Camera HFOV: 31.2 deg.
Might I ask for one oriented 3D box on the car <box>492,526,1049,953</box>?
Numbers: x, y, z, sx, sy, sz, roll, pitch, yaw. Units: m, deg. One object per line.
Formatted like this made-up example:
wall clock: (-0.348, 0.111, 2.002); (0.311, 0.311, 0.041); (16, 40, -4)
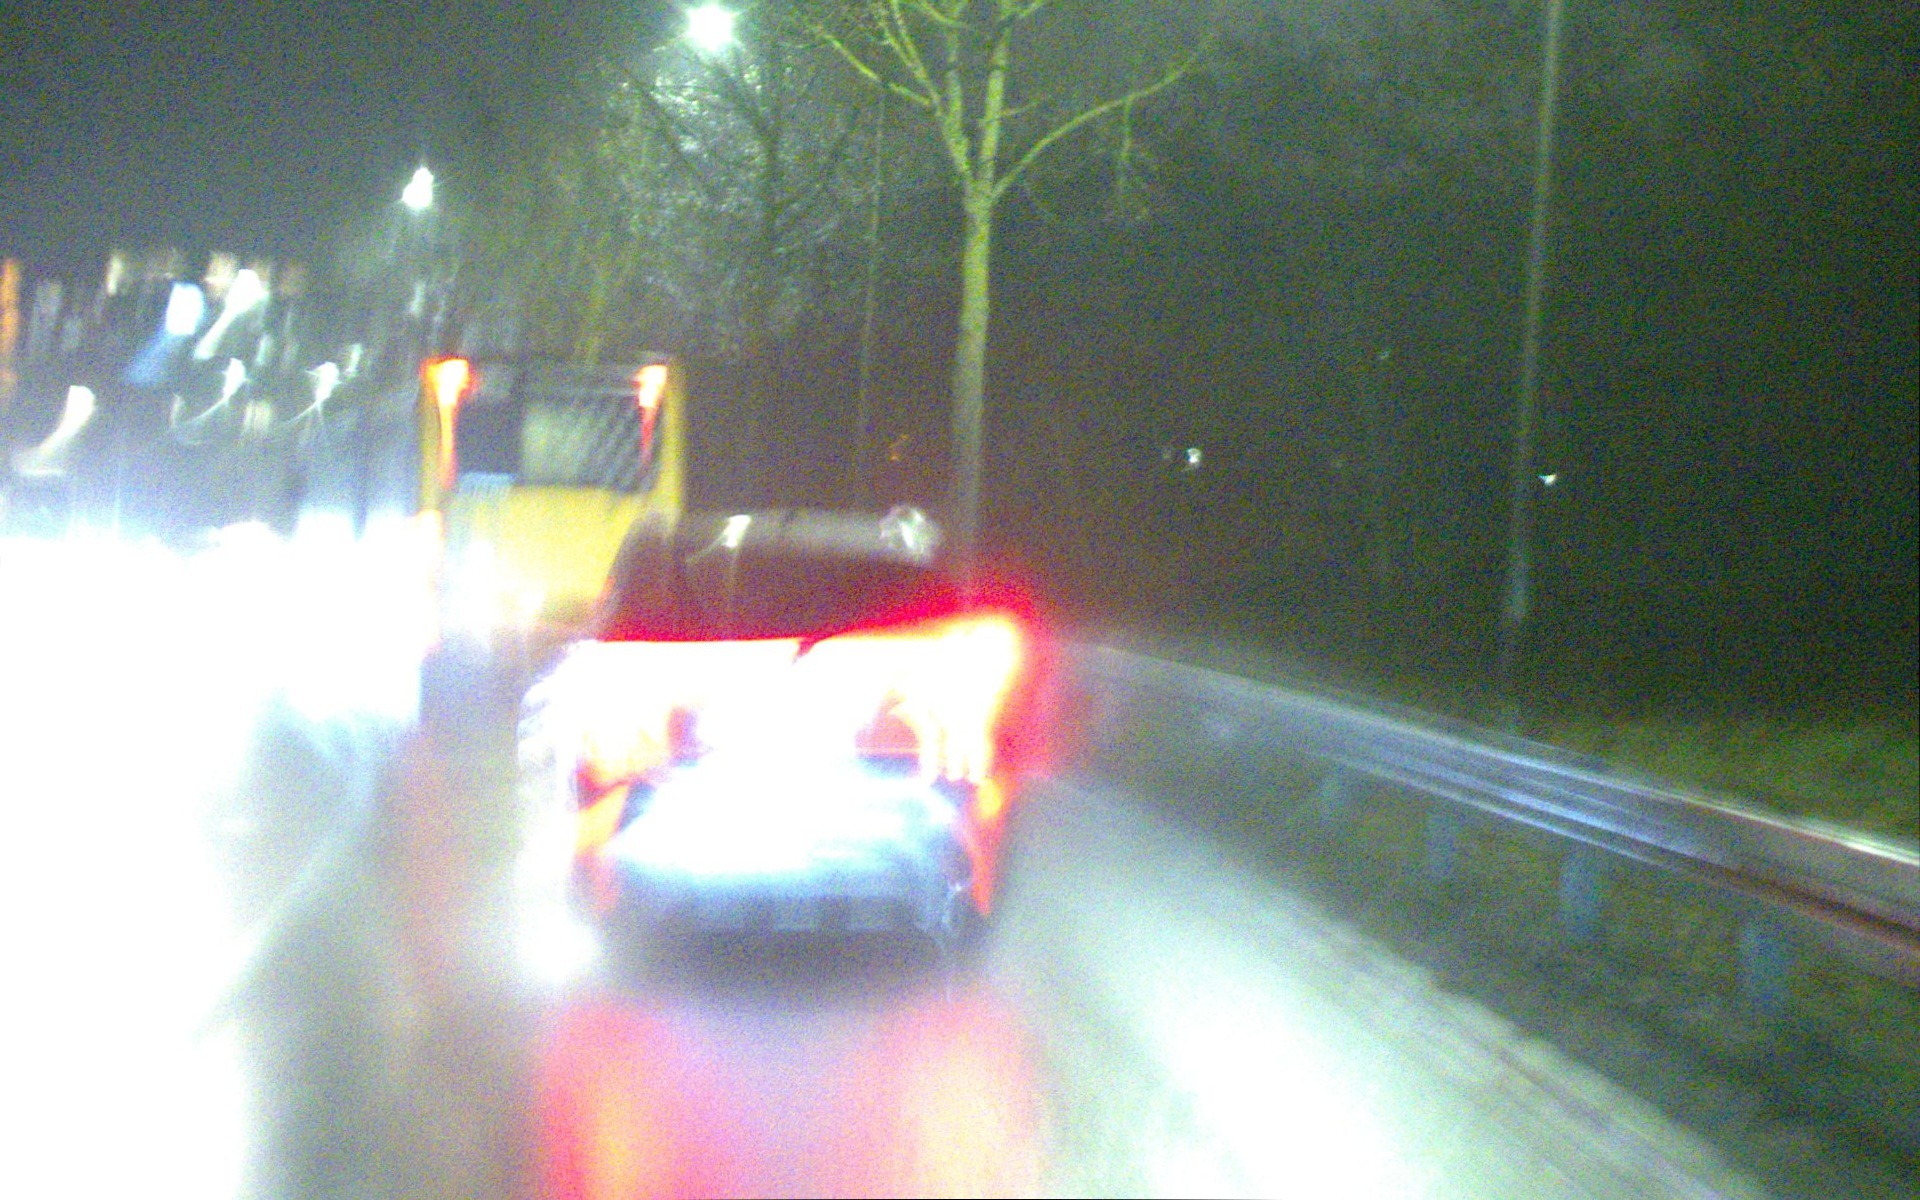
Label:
car: (-0.800, 0.470, 14.514); (1.993, 1.519, 4.001); (1, 1, -3)

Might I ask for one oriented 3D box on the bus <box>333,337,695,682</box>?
bus: (-4.967, -0.915, 36.621); (3.042, 3.201, 9.053); (0, 1, -12)

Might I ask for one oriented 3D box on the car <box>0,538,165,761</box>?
car: (-6.533, 0.278, 23.581); (1.728, 1.400, 3.864); (0, 1, -7)

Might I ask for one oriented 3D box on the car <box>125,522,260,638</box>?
car: (-17.118, -0.472, 76.452); (2.697, 2.469, 5.307); (0, 1, -15)
